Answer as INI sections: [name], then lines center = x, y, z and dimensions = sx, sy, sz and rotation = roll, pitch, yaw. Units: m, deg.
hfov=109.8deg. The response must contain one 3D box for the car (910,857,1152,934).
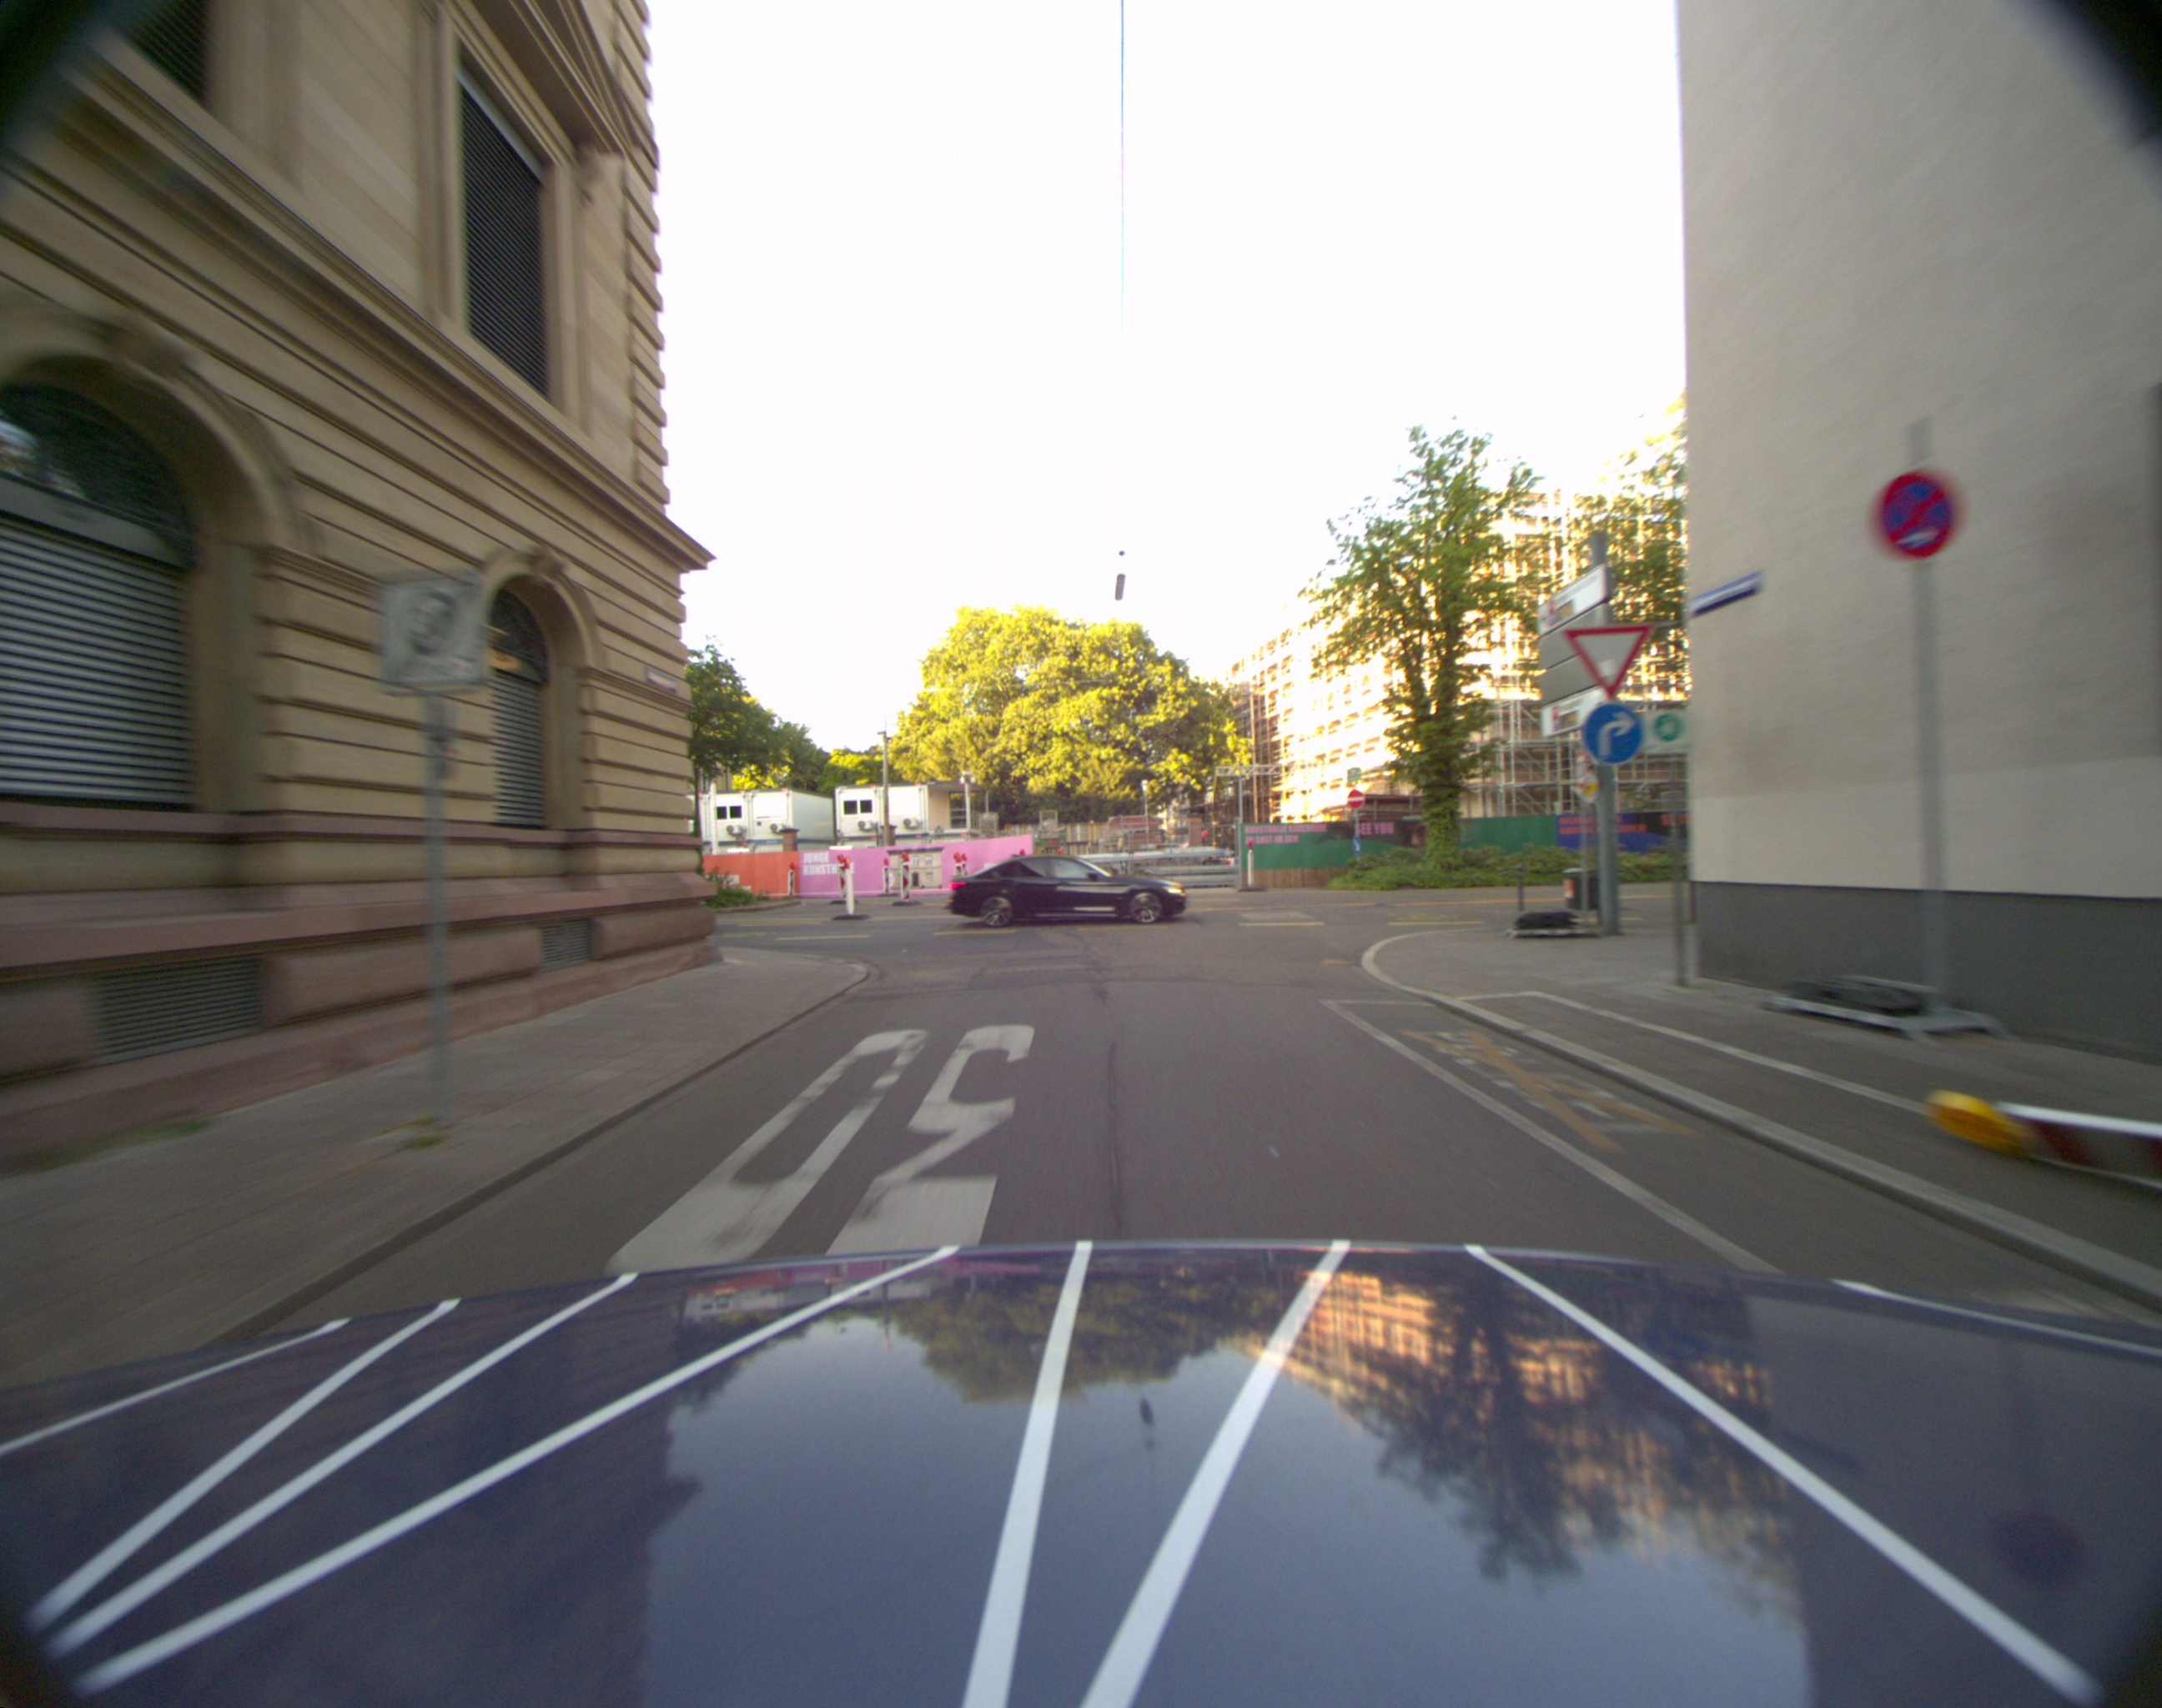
[car]
center = -0.937, 0.833, 16.003
dimensions = 4.775, 1.378, 1.966
rotation = -2, 1, 5
